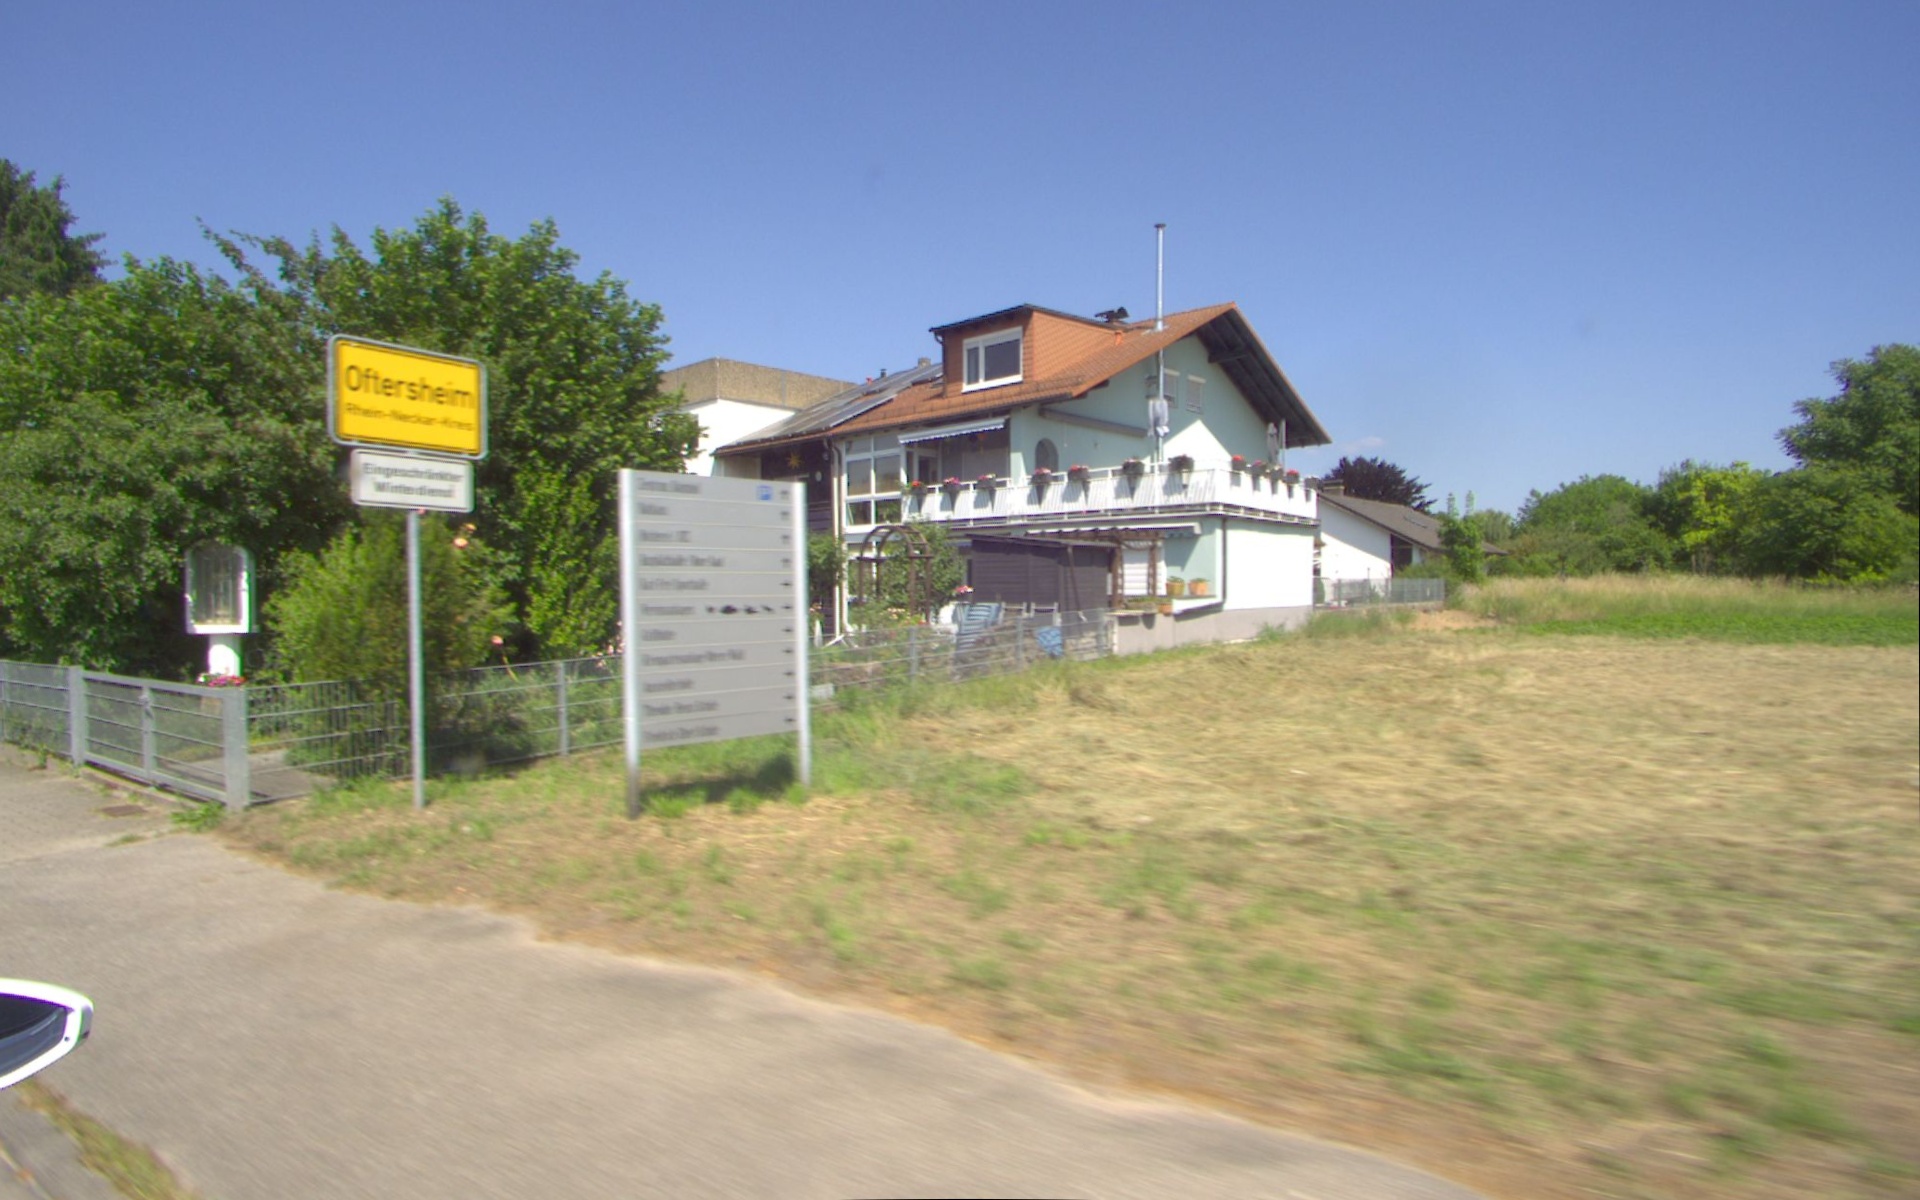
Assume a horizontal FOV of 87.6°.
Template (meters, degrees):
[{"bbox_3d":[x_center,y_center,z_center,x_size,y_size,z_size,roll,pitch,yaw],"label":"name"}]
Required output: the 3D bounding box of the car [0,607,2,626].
[{"bbox_3d":[-66.597,1.080,66.659,1.657,1.311,3.810,0,-1,26],"label":"car"}]
